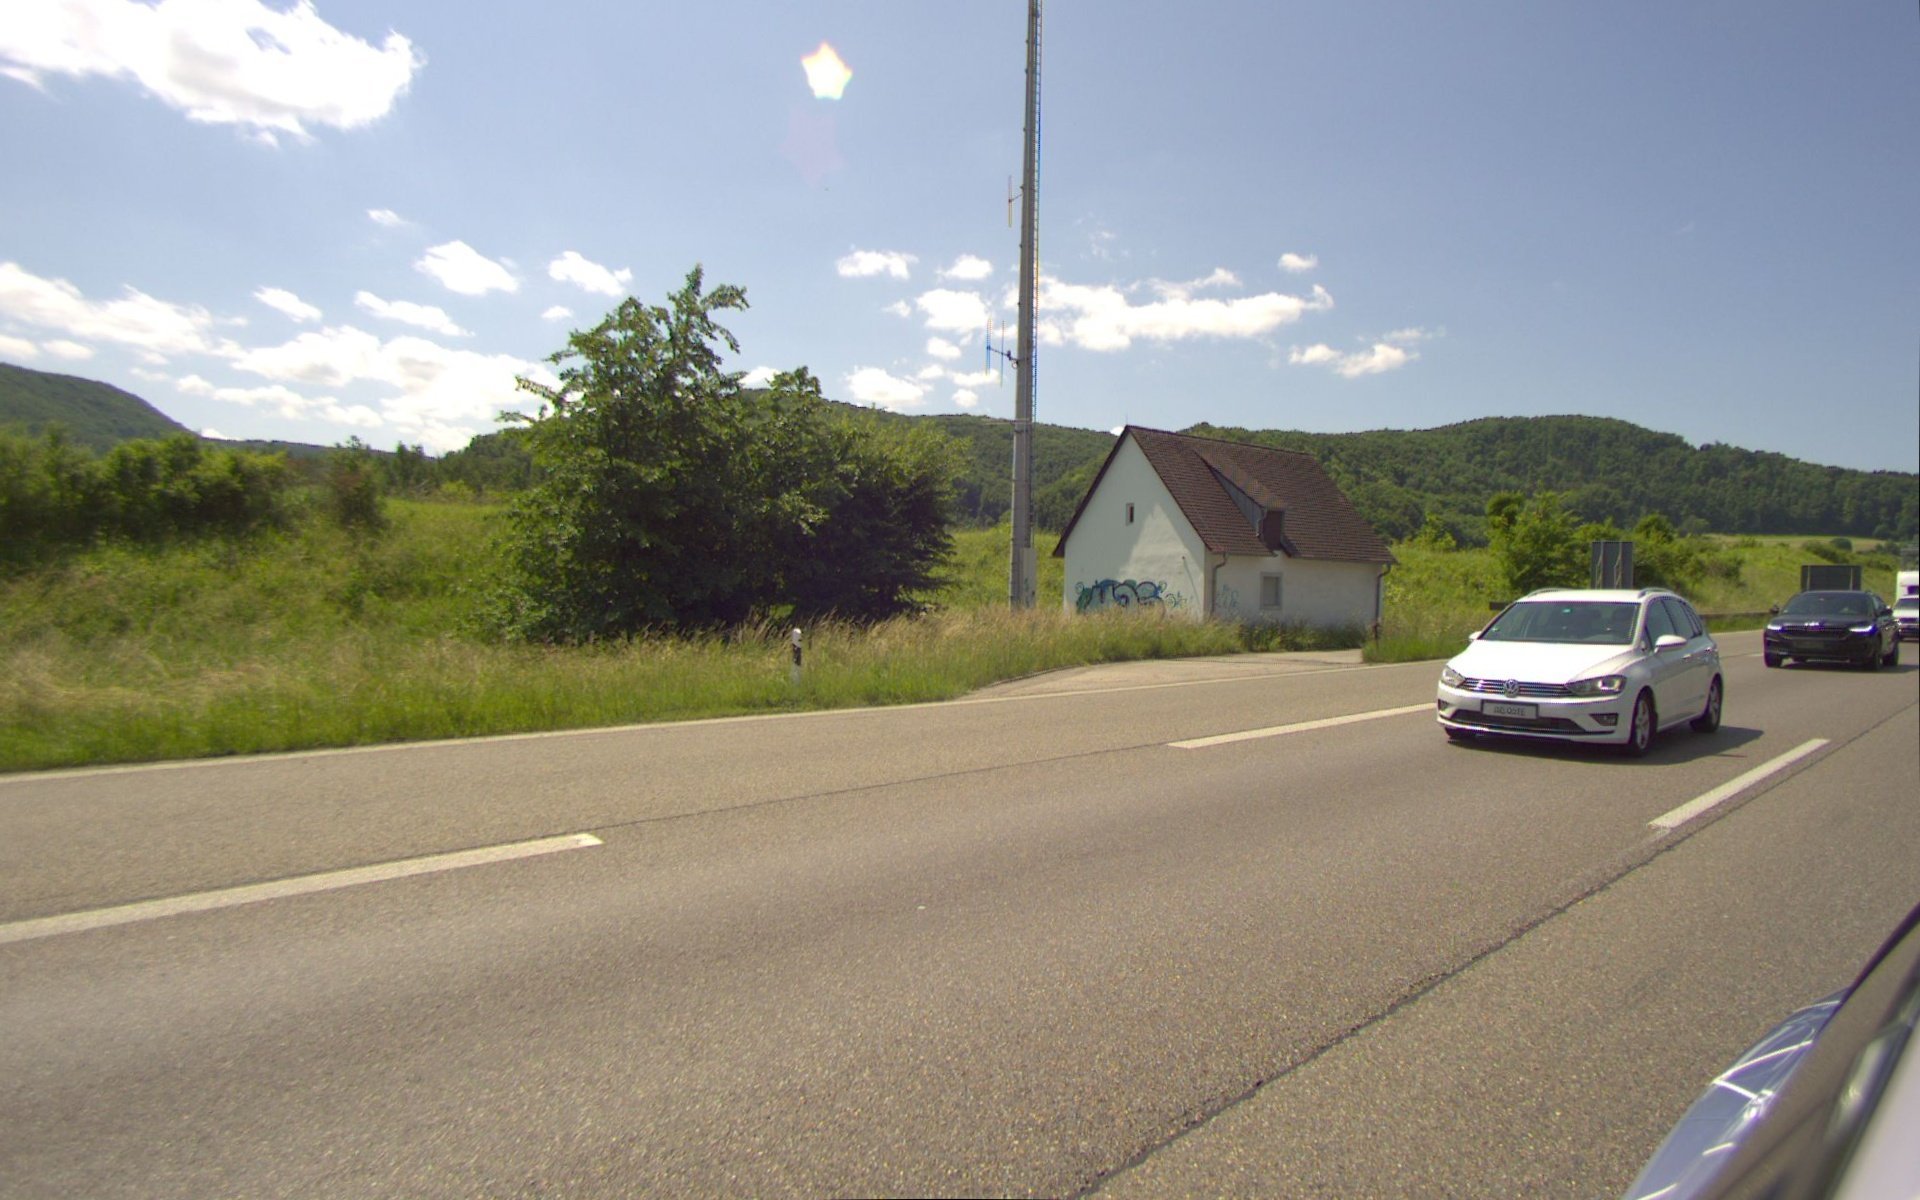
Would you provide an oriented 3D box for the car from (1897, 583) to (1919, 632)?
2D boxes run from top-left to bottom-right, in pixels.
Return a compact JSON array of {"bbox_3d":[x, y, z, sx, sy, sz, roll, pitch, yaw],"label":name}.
[{"bbox_3d":[33.094,0.228,34.091,3.930,1.603,1.820,0,1,-41],"label":"car"}]

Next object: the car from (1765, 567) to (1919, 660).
[{"bbox_3d":[18.938,0.241,21.628,4.097,1.794,1.893,0,1,-40],"label":"car"}]

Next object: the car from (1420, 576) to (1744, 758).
[{"bbox_3d":[6.636,0.556,10.637,3.983,1.560,1.776,0,1,-40],"label":"car"}]

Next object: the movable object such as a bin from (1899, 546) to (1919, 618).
[{"bbox_3d":[38.052,-0.664,38.642,6.590,2.665,2.480,0,1,-41],"label":"movable object such as a bin"}]
